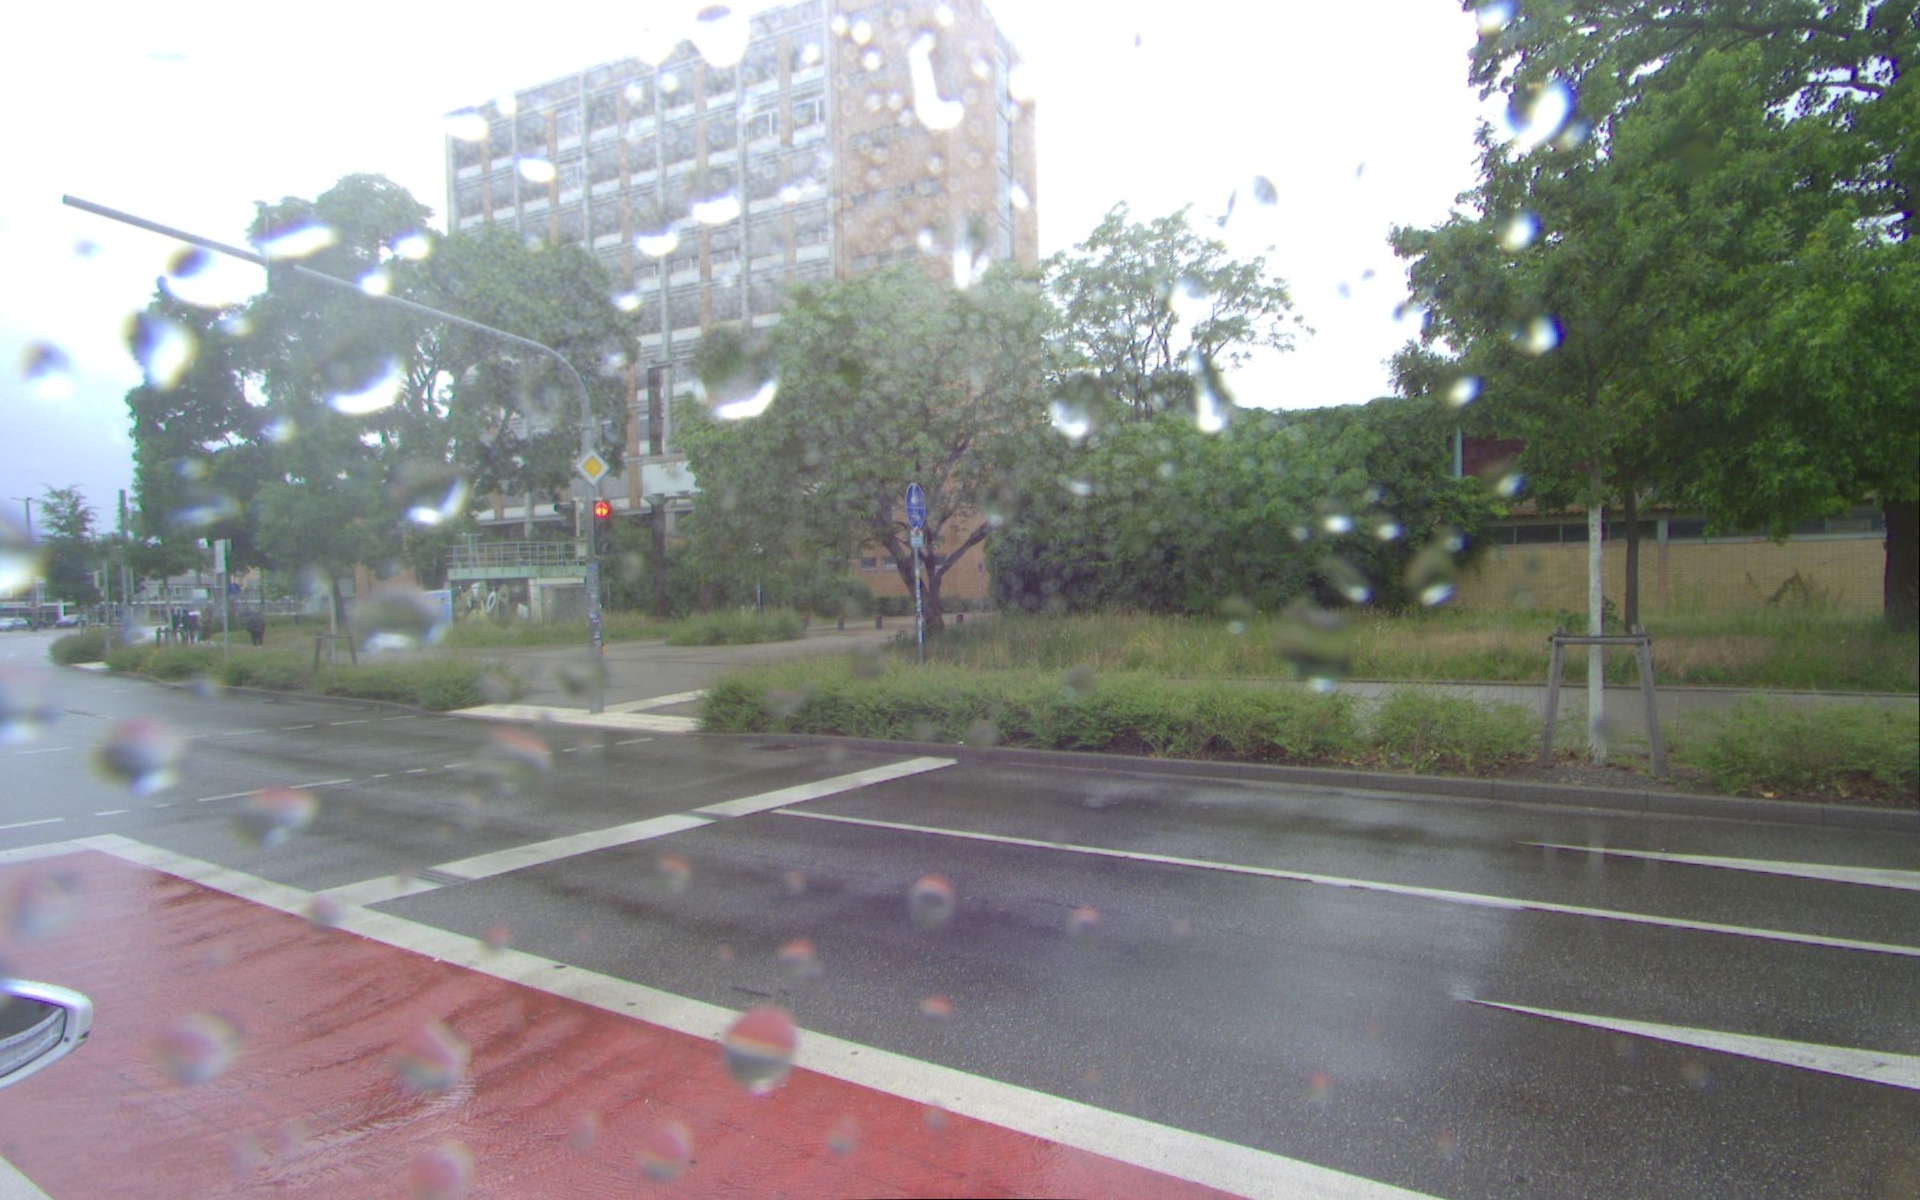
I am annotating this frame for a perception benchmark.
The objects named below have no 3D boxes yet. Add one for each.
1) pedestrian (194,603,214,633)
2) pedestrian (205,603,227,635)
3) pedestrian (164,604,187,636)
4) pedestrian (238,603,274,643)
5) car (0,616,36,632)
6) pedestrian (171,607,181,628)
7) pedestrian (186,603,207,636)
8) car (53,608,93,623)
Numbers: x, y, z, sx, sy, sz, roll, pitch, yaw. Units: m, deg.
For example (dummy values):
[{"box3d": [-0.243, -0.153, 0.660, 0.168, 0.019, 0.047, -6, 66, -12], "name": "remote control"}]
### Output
[{"box3d": [-41.386, 0.983, 54.821, 0.926, 1.609, 0.699, 0, 1, 43], "name": "pedestrian"}, {"box3d": [-38.117, 0.947, 51.292, 0.926, 1.609, 0.699, 0, 1, 43], "name": "pedestrian"}, {"box3d": [-39.654, 1.002, 50.594, 0.926, 1.609, 0.749, 0, 1, 42], "name": "pedestrian"}, {"box3d": [-28.583, 0.925, 40.657, 0.926, 1.609, 1.017, 0, 1, 42], "name": "pedestrian"}, {"box3d": [-104.903, 2.695, 111.136, 1.764, 1.665, 4.150, -1, 0, -17], "name": "car"}, {"box3d": [-61.512, 1.343, 78.571, 0.584, 1.652, 0.614, -2, 1, -42], "name": "pedestrian"}, {"box3d": [-38.824, 0.984, 50.921, 0.926, 1.609, 0.699, 0, 1, 43], "name": "pedestrian"}, {"box3d": [-104.737, 1.804, 118.259, 1.763, 1.665, 4.153, -1, 0, -13], "name": "car"}]
